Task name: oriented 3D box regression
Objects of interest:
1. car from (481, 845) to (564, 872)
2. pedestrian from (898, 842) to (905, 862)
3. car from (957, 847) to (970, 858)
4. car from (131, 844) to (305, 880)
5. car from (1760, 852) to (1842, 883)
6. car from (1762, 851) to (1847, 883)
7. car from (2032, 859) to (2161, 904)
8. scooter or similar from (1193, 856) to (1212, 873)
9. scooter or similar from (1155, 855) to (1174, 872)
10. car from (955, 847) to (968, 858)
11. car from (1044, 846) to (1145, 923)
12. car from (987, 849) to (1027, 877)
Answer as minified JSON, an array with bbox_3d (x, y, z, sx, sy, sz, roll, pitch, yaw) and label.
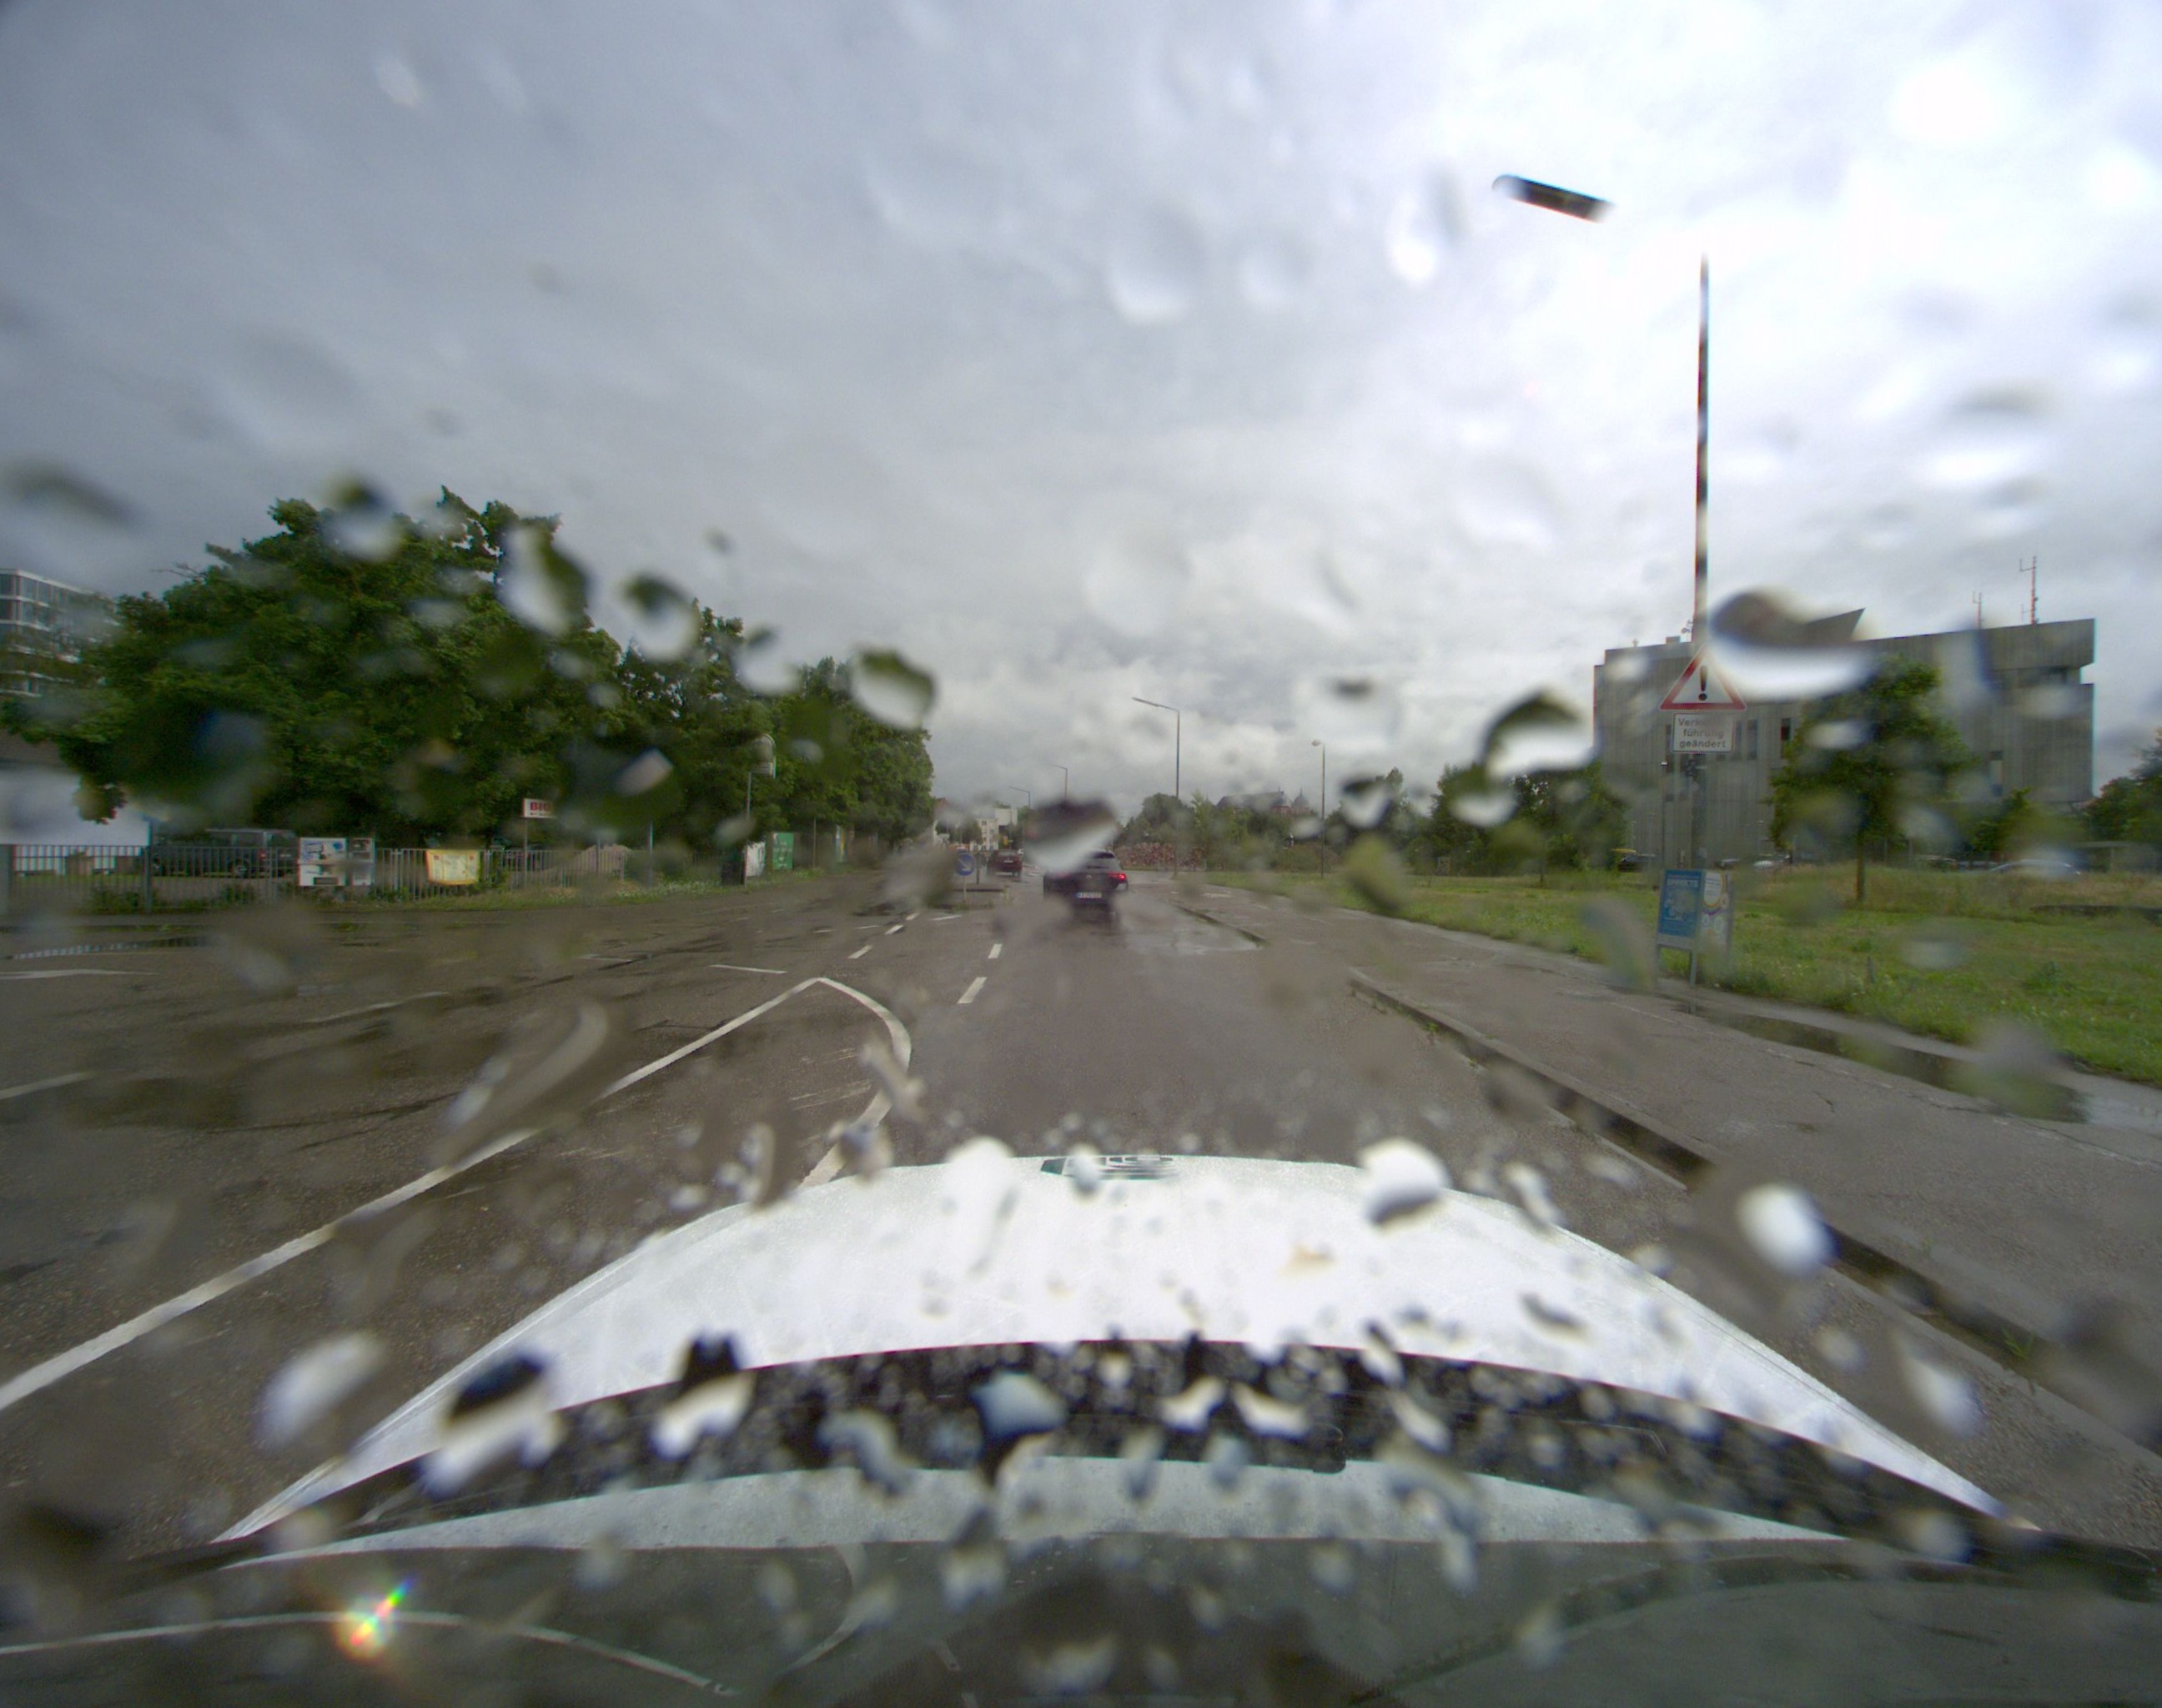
[{"bbox_3d":[-30.380,0.249,44.475,1.994,1.418,4.528,0,0,-10],"label":"car"},{"bbox_3d":[-15.878,-0.189,71.923,0.524,1.701,0.564,3,1,-10],"label":"pedestrian"},{"bbox_3d":[-17.216,-0.219,119.082,1.841,1.641,4.002,1,0,-10],"label":"car"},{"bbox_3d":[-34.549,0.310,32.743,4.525,1.418,1.995,0,0,-7],"label":"car"},{"bbox_3d":[54.234,0.977,61.461,4.332,1.971,2.013,4,2,36],"label":"car"},{"bbox_3d":[52.557,0.914,59.297,4.332,1.957,2.013,4,2,36],"label":"car"},{"bbox_3d":[48.549,1.289,39.002,3.662,2.014,2.012,0,-1,42],"label":"car"},{"bbox_3d":[9.128,0.804,61.345,1.268,1.187,0.506,4,2,31],"label":"scooter or similar"},{"bbox_3d":[6.379,0.702,61.927,1.268,1.187,0.506,4,2,31],"label":"scooter or similar"},{"bbox_3d":[-19.236,-0.283,130.855,1.996,1.702,4.002,1,0,-10],"label":"car"},{"bbox_3d":[0.193,0.613,18.612,1.982,1.520,3.995,-2,0,-3],"label":"car"},{"bbox_3d":[-4.108,0.497,44.820,1.841,1.442,3.986,-2,-1,-10],"label":"car"}]
